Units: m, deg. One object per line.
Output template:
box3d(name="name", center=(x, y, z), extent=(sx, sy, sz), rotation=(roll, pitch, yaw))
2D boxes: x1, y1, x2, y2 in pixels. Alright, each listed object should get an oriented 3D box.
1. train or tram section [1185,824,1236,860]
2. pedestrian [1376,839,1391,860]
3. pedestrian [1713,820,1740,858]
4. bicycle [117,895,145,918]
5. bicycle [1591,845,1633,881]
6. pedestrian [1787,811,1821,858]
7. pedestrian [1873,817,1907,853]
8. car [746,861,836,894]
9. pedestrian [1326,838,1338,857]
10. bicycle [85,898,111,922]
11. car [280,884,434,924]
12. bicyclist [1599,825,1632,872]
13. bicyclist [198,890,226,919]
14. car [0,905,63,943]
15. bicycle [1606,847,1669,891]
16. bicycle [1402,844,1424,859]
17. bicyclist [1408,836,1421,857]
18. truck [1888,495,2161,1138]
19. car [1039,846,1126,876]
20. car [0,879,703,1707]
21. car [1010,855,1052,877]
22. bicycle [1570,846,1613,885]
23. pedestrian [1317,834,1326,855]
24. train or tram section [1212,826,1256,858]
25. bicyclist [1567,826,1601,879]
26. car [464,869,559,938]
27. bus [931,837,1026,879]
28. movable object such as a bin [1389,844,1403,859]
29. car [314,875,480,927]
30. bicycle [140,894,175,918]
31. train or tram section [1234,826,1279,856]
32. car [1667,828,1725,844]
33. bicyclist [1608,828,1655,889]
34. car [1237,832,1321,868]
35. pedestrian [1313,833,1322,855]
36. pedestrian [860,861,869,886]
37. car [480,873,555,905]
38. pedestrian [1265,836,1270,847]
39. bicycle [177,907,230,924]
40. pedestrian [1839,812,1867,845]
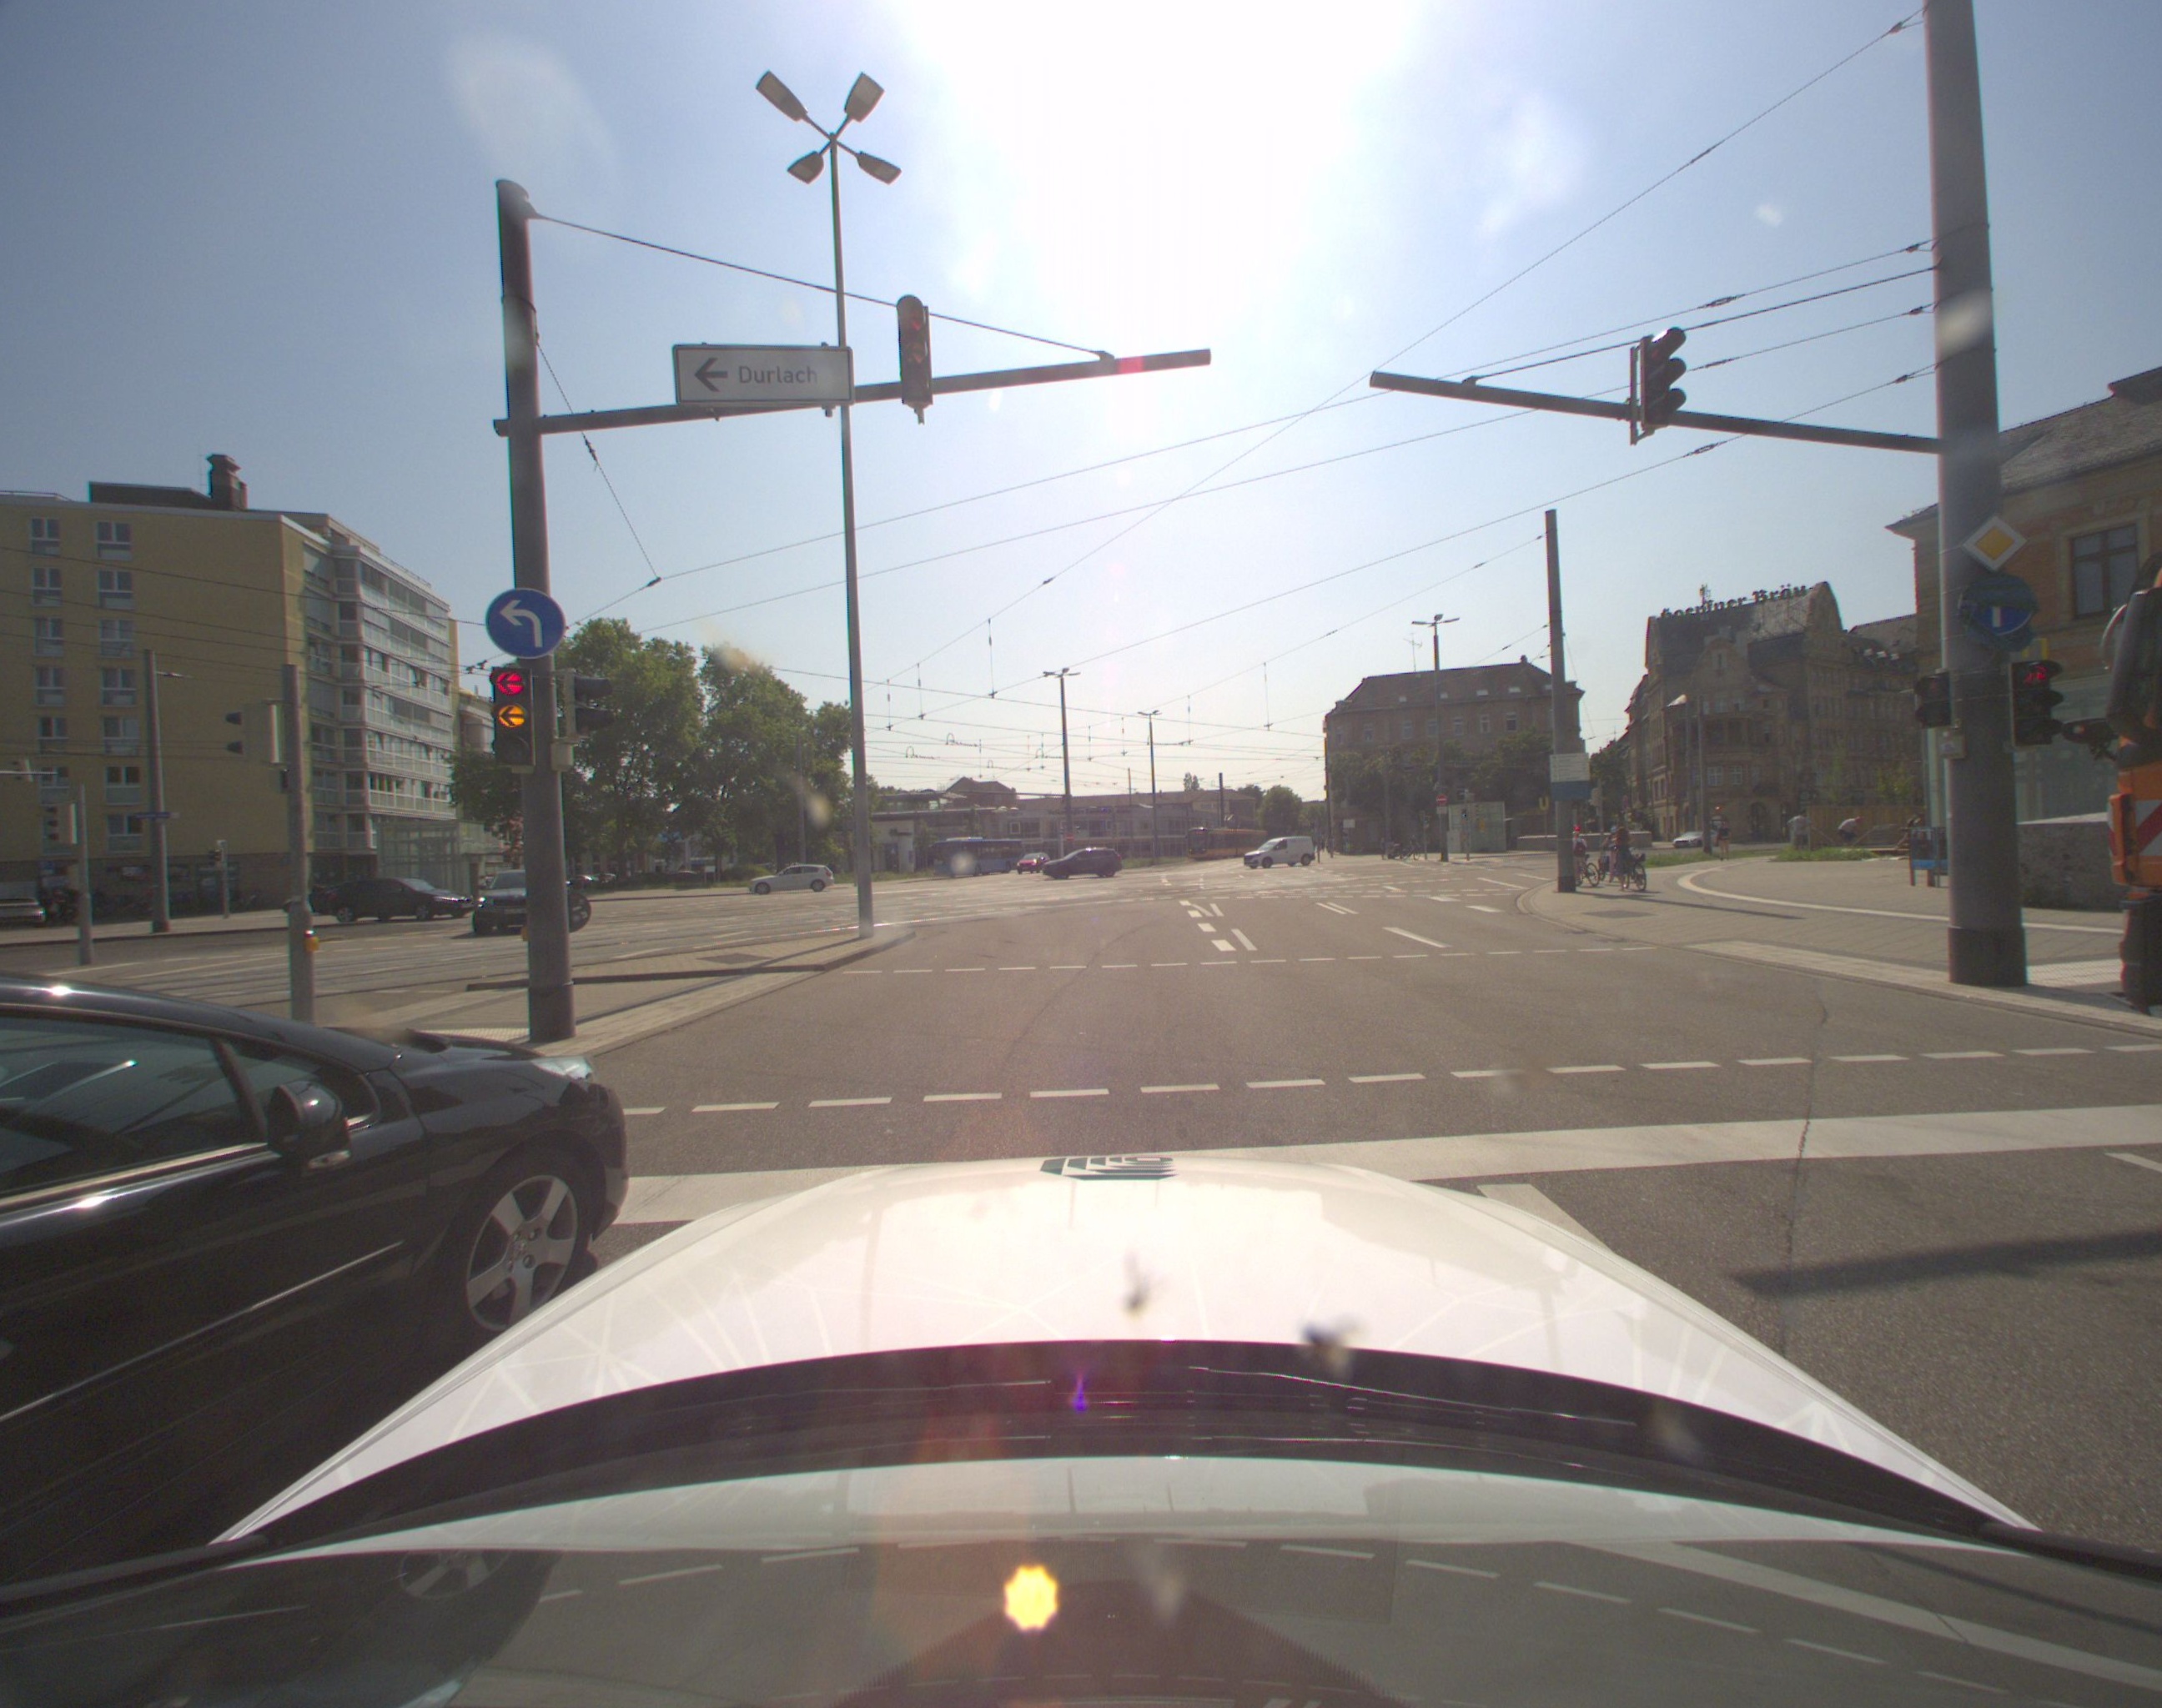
box3d(name="train or tram section", center=(14.007, -1.269, 87.461), extent=(2.565, 3.516, 10.960), rotation=(-2, 0, 24))
box3d(name="pedestrian", center=(23.101, -0.350, 62.180), extent=(0.849, 1.545, 0.527), rotation=(-2, 0, -6))
box3d(name="pedestrian", center=(27.094, -0.624, 34.183), extent=(0.794, 1.575, 0.729), rotation=(-2, 0, -44))
box3d(name="bicycle", center=(-51.513, 2.848, 44.156), extent=(3.220, 1.204, 0.699), rotation=(-3, 0, 36))
box3d(name="bicycle", center=(16.302, 0.262, 25.043), extent=(0.532, 1.055, 1.660), rotation=(-2, 0, 14))
box3d(name="pedestrian", center=(27.139, -0.710, 30.581), extent=(0.549, 1.724, 0.812), rotation=(-2, 0, -39))
box3d(name="pedestrian", center=(31.959, -0.744, 32.160), extent=(0.768, 1.399, 0.687), rotation=(-2, 0, -23))
box3d(name="car", center=(-14.860, 1.182, 41.941), extent=(4.199, 1.415, 1.765), rotation=(-2, 0, -18))
box3d(name="pedestrian", center=(21.856, -0.552, 70.916), extent=(0.699, 1.603, 0.572), rotation=(-2, 0, -6))
box3d(name="bicycle", center=(-52.874, 3.010, 43.795), extent=(2.754, 1.204, 0.699), rotation=(-3, 0, 36))
box3d(name="car", center=(-32.082, 2.180, 36.250), extent=(4.766, 1.415, 1.765), rotation=(-2, 0, -18))
box3d(name="bicyclist", center=(16.202, -0.169, 24.693), extent=(0.526, 1.393, 0.897), rotation=(-2, 0, 14))
box3d(name="bicyclist", center=(-47.324, 2.755, 44.360), extent=(0.873, 1.475, 0.543), rotation=(-2, 0, -16))
box3d(name="car", center=(-48.108, 3.179, 37.187), extent=(3.948, 1.508, 1.759), rotation=(-2, 0, 35))
box3d(name="bicycle", center=(14.144, 0.362, 20.749), extent=(0.489, 1.055, 1.826), rotation=(-2, 0, 7))
box3d(name="bicycle", center=(24.385, -0.210, 59.837), extent=(0.470, 1.055, 1.643), rotation=(-2, 0, -18))
box3d(name="bicyclist", center=(24.442, -0.571, 59.662), extent=(0.614, 1.528, 0.517), rotation=(-2, 0, -22))
box3d(name="truck", center=(6.367, -0.211, 1.858), extent=(2.481, 3.134, 6.869), rotation=(-2, 0, 4))
box3d(name="car", center=(0.077, 0.418, 46.888), extent=(4.624, 1.505, 1.987), rotation=(-2, 0, -19))
box3d(name="car", center=(-2.648, 0.815, 1.571), extent=(1.757, 1.388, 3.787), rotation=(-1, 0, 6))
box3d(name="car", center=(-3.847, 0.944, 63.605), extent=(1.735, 1.552, 4.020), rotation=(-3, 0, 20))
box3d(name="bicycle", center=(14.627, 0.308, 23.376), extent=(0.532, 1.055, 1.660), rotation=(-2, 0, 14))
box3d(name="pedestrian", center=(34.669, -1.399, 117.575), extent=(0.978, 3.017, 0.977), rotation=(-2, 0, 7))
box3d(name="train or tram section", center=(18.296, -1.481, 96.960), extent=(2.564, 3.516, 9.715), rotation=(-2, 0, 26))
box3d(name="bicyclist", center=(14.641, -0.042, 23.723), extent=(0.623, 1.517, 0.715), rotation=(-2, 0, 14))
box3d(name="car", center=(-15.336, 1.251, 21.828), extent=(1.780, 1.600, 4.491), rotation=(-2, 0, -39))
box3d(name="bus", center=(-8.134, 0.210, 66.991), extent=(2.541, 3.082, 12.082), rotation=(-3, 0, 19))
box3d(name="movable object such as a bin", center=(23.946, -0.175, 61.937), extent=(0.812, 1.077, 0.510), rotation=(-2, 0, -9))
box3d(name="car", center=(-24.538, 1.658, 29.380), extent=(4.197, 1.560, 1.732), rotation=(-2, 0, -12))
box3d(name="bicycle", center=(-50.245, 2.805, 44.297), extent=(3.220, 1.204, 0.916), rotation=(-3, 0, 36))
box3d(name="train or tram section", center=(23.262, -1.715, 107.145), extent=(2.564, 3.516, 13.050), rotation=(-2, 0, 26))
box3d(name="car", center=(49.586, -1.451, 65.692), extent=(4.003, 1.090, 1.985), rotation=(-2, 0, -22))
box3d(name="bicyclist", center=(14.151, 0.106, 20.963), extent=(0.730, 1.517, 0.665), rotation=(-2, 0, 6))
box3d(name="car", center=(12.208, -0.238, 50.234), extent=(4.622, 2.013, 1.988), rotation=(-2, 0, -17))
box3d(name="pedestrian", center=(33.623, -1.386, 115.912), extent=(0.978, 3.017, 0.977), rotation=(-2, 0, 7))
box3d(name="pedestrian", center=(-14.747, 1.325, 55.435), extent=(0.554, 1.684, 0.451), rotation=(-2, 0, -17))
box3d(name="car", center=(-40.740, 2.497, 58.958), extent=(3.994, 2.013, 1.921), rotation=(-2, 0, -15))
box3d(name="pedestrian", center=(35.829, -2.459, 156.436), extent=(0.722, 2.013, 0.672), rotation=(-2, 0, 19))
box3d(name="bicycle", center=(-47.669, 3.334, 44.251), extent=(1.860, 0.802, 0.604), rotation=(-2, 0, -17))
box3d(name="pedestrian", center=(29.945, -0.989, 31.601), extent=(0.658, 1.214, 0.531), rotation=(-2, 0, 30))
